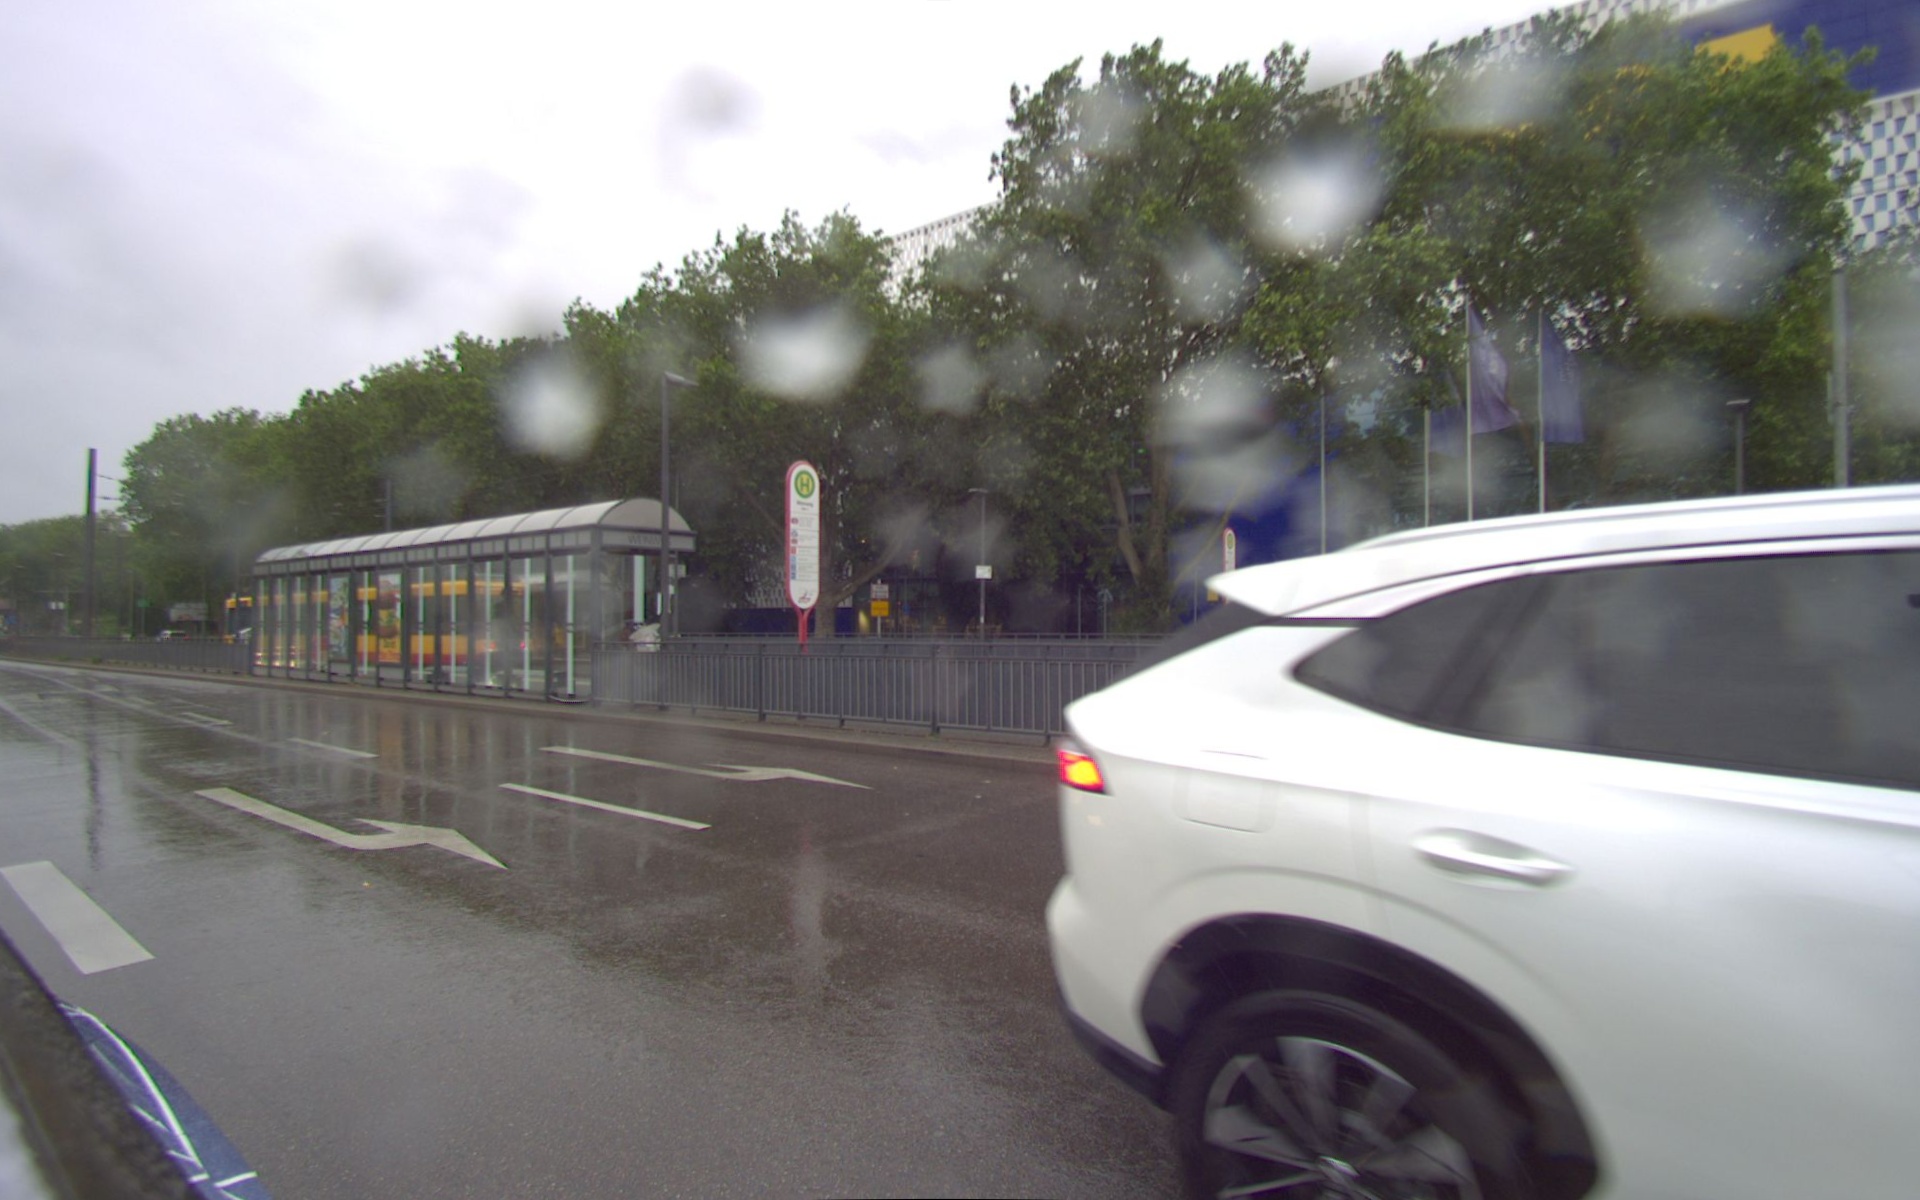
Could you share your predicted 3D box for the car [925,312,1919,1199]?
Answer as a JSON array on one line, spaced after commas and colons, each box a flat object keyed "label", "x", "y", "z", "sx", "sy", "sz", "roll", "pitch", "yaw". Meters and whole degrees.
[{"label": "car", "x": 2.302, "y": 0.503, "z": 1.639, "sx": 4.661, "sy": 1.788, "sz": 1.910, "roll": -1, "pitch": 0, "yaw": 41}]

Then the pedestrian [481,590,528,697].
[{"label": "pedestrian", "x": -8.301, "y": 0.770, "z": 18.437, "sx": 0.646, "sy": 1.885, "sz": 0.774, "roll": -1, "pitch": 0, "yaw": -33}]

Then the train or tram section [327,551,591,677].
[{"label": "train or tram section", "x": -18.661, "y": 0.500, "z": 36.941, "sx": 13.245, "sy": 3.868, "sz": 3.703, "roll": -1, "pitch": 0, "yaw": 40}]

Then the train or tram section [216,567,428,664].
[{"label": "train or tram section", "x": -29.599, "y": 0.704, "z": 46.350, "sx": 15.560, "sy": 3.827, "sz": 3.703, "roll": -1, "pitch": 0, "yaw": 40}]

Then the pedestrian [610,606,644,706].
[{"label": "pedestrian", "x": -5.152, "y": 0.851, "z": 15.655, "sx": 0.317, "sy": 1.504, "sz": 0.416, "roll": -2, "pitch": 1, "yaw": -44}]
